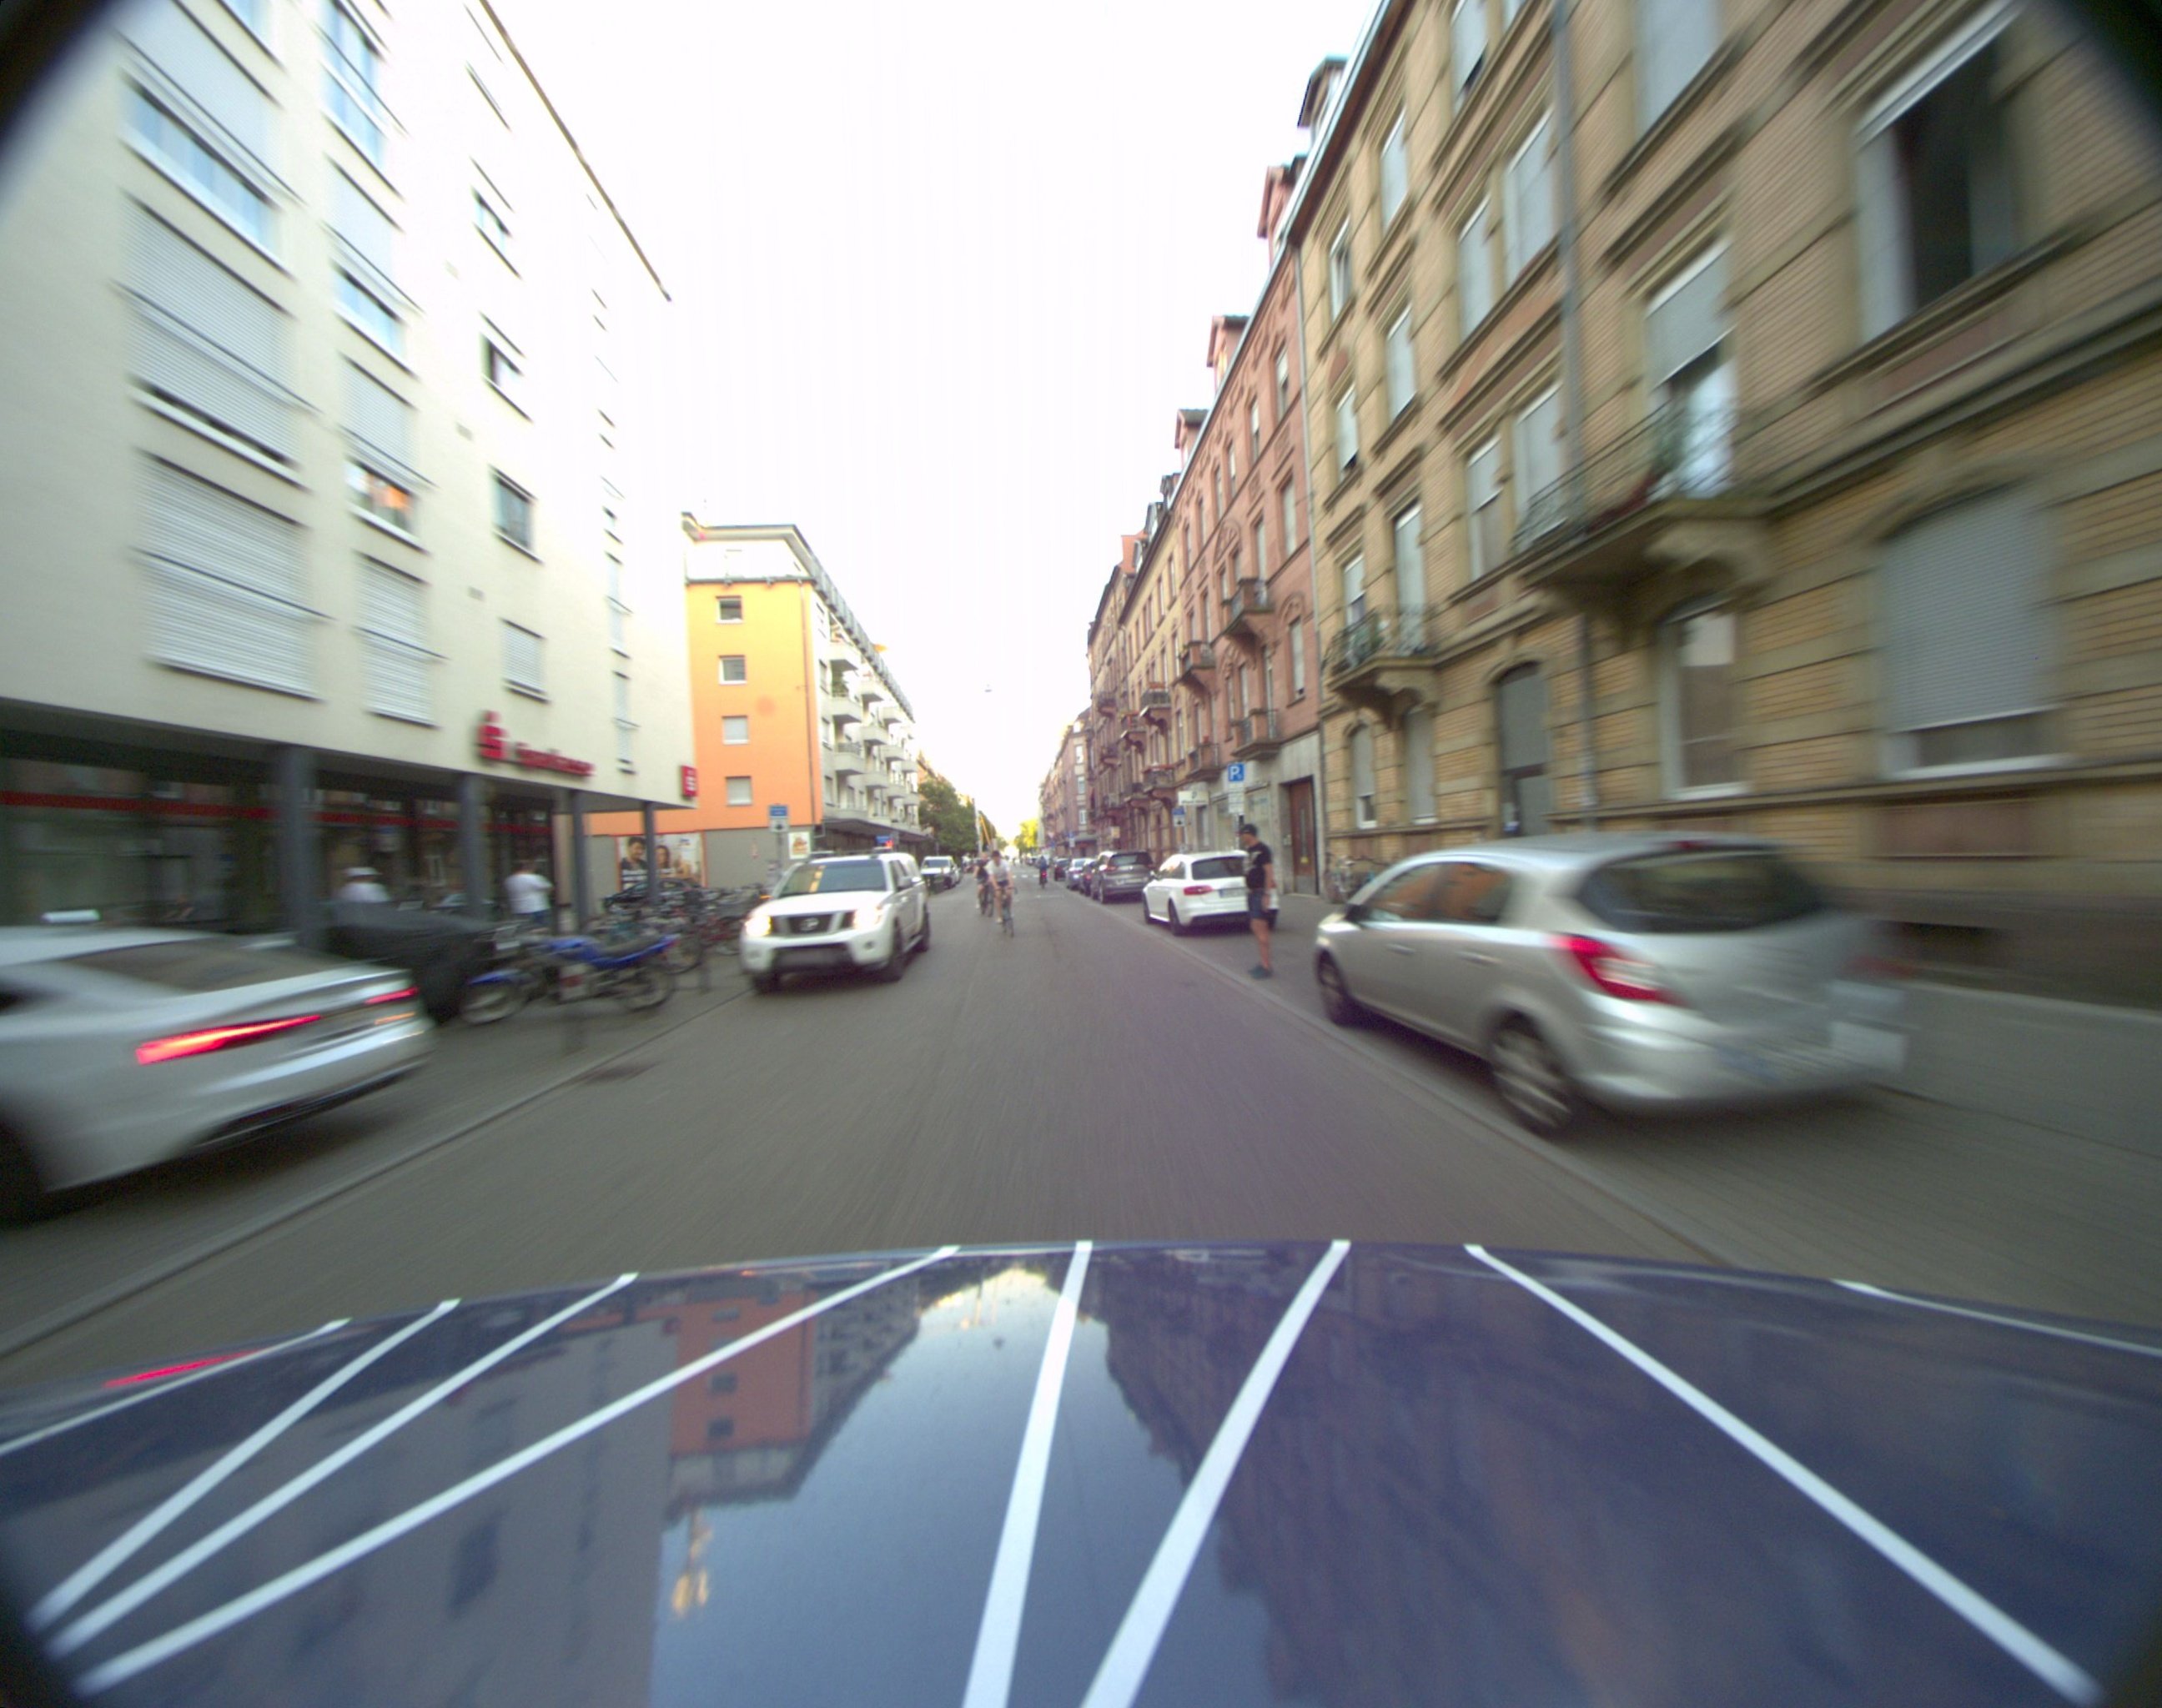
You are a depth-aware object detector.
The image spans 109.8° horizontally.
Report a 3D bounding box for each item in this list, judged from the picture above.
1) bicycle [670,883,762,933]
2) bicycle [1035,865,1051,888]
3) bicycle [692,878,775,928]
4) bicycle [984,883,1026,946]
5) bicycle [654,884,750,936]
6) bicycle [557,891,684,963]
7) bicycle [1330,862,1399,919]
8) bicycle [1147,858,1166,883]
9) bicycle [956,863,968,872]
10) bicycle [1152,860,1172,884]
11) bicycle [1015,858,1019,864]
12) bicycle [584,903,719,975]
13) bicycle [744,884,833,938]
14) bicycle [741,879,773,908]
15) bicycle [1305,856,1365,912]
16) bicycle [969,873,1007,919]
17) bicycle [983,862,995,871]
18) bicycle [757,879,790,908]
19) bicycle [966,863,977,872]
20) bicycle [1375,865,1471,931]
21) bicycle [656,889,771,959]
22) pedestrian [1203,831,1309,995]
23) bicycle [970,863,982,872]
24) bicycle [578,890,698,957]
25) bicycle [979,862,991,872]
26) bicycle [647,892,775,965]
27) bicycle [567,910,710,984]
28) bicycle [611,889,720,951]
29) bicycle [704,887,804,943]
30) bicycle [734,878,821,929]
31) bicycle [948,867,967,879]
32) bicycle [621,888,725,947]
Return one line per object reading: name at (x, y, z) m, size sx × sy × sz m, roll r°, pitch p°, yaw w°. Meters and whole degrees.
bicycle at (-8.264, 1.207, 17.242) m, size 1.727 × 1.048 × 0.653 m, roll -1°, pitch 1°, yaw -2°
bicycle at (-1.892, 1.121, 38.274) m, size 0.646 × 1.074 × 2.168 m, roll -1°, pitch 0°, yaw 1°
bicycle at (-8.317, 1.161, 18.265) m, size 1.729 × 1.125 × 0.578 m, roll -1°, pitch 1°, yaw -17°
bicycle at (-1.482, 1.153, 15.042) m, size 0.658 × 1.012 × 1.917 m, roll -4°, pitch 1°, yaw -3°
bicycle at (-8.243, 1.204, 16.570) m, size 1.727 × 1.048 × 0.653 m, roll -1°, pitch 1°, yaw -2°
bicycle at (-7.877, 1.234, 13.059) m, size 1.728 × 1.111 × 0.653 m, roll -1°, pitch 1°, yaw -8°
bicycle at (5.568, 0.695, 15.005) m, size 0.567 × 1.030 × 1.623 m, roll -4°, pitch 0°, yaw -5°
bicycle at (3.629, 0.789, 36.626) m, size 0.550 × 1.117 × 1.759 m, roll -6°, pitch 0°, yaw -4°
bicycle at (-15.157, 1.691, 96.541) m, size 0.667 × 1.158 × 2.111 m, roll -1°, pitch 0°, yaw -32°
bicycle at (3.742, 0.832, 35.229) m, size 0.550 × 1.031 × 1.759 m, roll -6°, pitch 0°, yaw -4°
bicycle at (-14.473, 1.584, 172.146) m, size 0.755 × 1.124 × 1.974 m, roll -3°, pitch 0°, yaw -11°
bicycle at (-6.714, 1.322, 11.933) m, size 1.724 × 1.025 × 0.667 m, roll 1°, pitch 1°, yaw -2°
bicycle at (-6.565, 1.265, 17.126) m, size 1.728 × 1.111 × 0.706 m, roll -1°, pitch 1°, yaw -7°
bicycle at (-13.590, 1.648, 31.930) m, size 0.564 × 1.061 × 1.756 m, roll -2°, pitch 2°, yaw 0°
bicycle at (5.498, 0.630, 16.542) m, size 0.517 × 1.125 × 1.730 m, roll -4°, pitch 0°, yaw -5°
bicycle at (-2.587, 1.129, 20.928) m, size 0.794 × 1.133 × 2.341 m, roll -4°, pitch 0°, yaw -11°
bicycle at (-11.900, 1.674, 98.476) m, size 0.667 × 1.162 × 2.111 m, roll -1°, pitch 0°, yaw -32°
bicycle at (-12.929, 1.643, 32.016) m, size 0.564 × 1.061 × 1.963 m, roll -2°, pitch 2°, yaw 0°
bicycle at (-14.025, 1.698, 97.241) m, size 0.667 × 1.125 × 2.111 m, roll -1°, pitch 0°, yaw -32°
bicycle at (5.780, 0.711, 12.934) m, size 0.594 × 1.021 × 1.622 m, roll -4°, pitch 0°, yaw -12°
bicycle at (-6.825, 1.283, 14.144) m, size 1.792 × 1.175 × 0.734 m, roll 1°, pitch 1°, yaw 6°
pedestrian at (2.003, 0.639, 8.775) m, size 0.556 × 1.745 × 1.020 m, roll -5°, pitch 2°, yaw -30°
bicycle at (-13.462, 1.704, 97.649) m, size 0.667 × 1.125 × 2.111 m, roll -1°, pitch 0°, yaw -32°
bicycle at (-7.991, 1.245, 13.773) m, size 1.728 × 1.111 × 0.653 m, roll -1°, pitch 1°, yaw -8°
bicycle at (-12.476, 1.687, 98.552) m, size 0.667 × 1.162 × 2.111 m, roll -1°, pitch 0°, yaw -32°
bicycle at (-6.450, 1.290, 13.311) m, size 1.874 × 1.175 × 0.742 m, roll 1°, pitch 1°, yaw 0°
bicycle at (-6.567, 1.370, 11.320) m, size 1.777 × 1.016 × 0.565 m, roll 1°, pitch 1°, yaw -2°
bicycle at (-8.092, 1.272, 14.851) m, size 1.727 × 1.111 × 0.653 m, roll -1°, pitch 1°, yaw -2°
bicycle at (-6.988, 1.289, 16.299) m, size 1.815 × 1.111 × 0.706 m, roll -1°, pitch 1°, yaw -7°
bicycle at (-7.143, 1.156, 17.939) m, size 1.727 × 1.111 × 0.707 m, roll -1°, pitch 1°, yaw -2°
bicycle at (-10.186, 1.574, 62.786) m, size 1.482 × 0.996 × 0.511 m, roll -1°, pitch 1°, yaw 2°
bicycle at (-8.247, 1.273, 15.409) m, size 1.727 × 1.111 × 0.653 m, roll -1°, pitch 1°, yaw -2°
